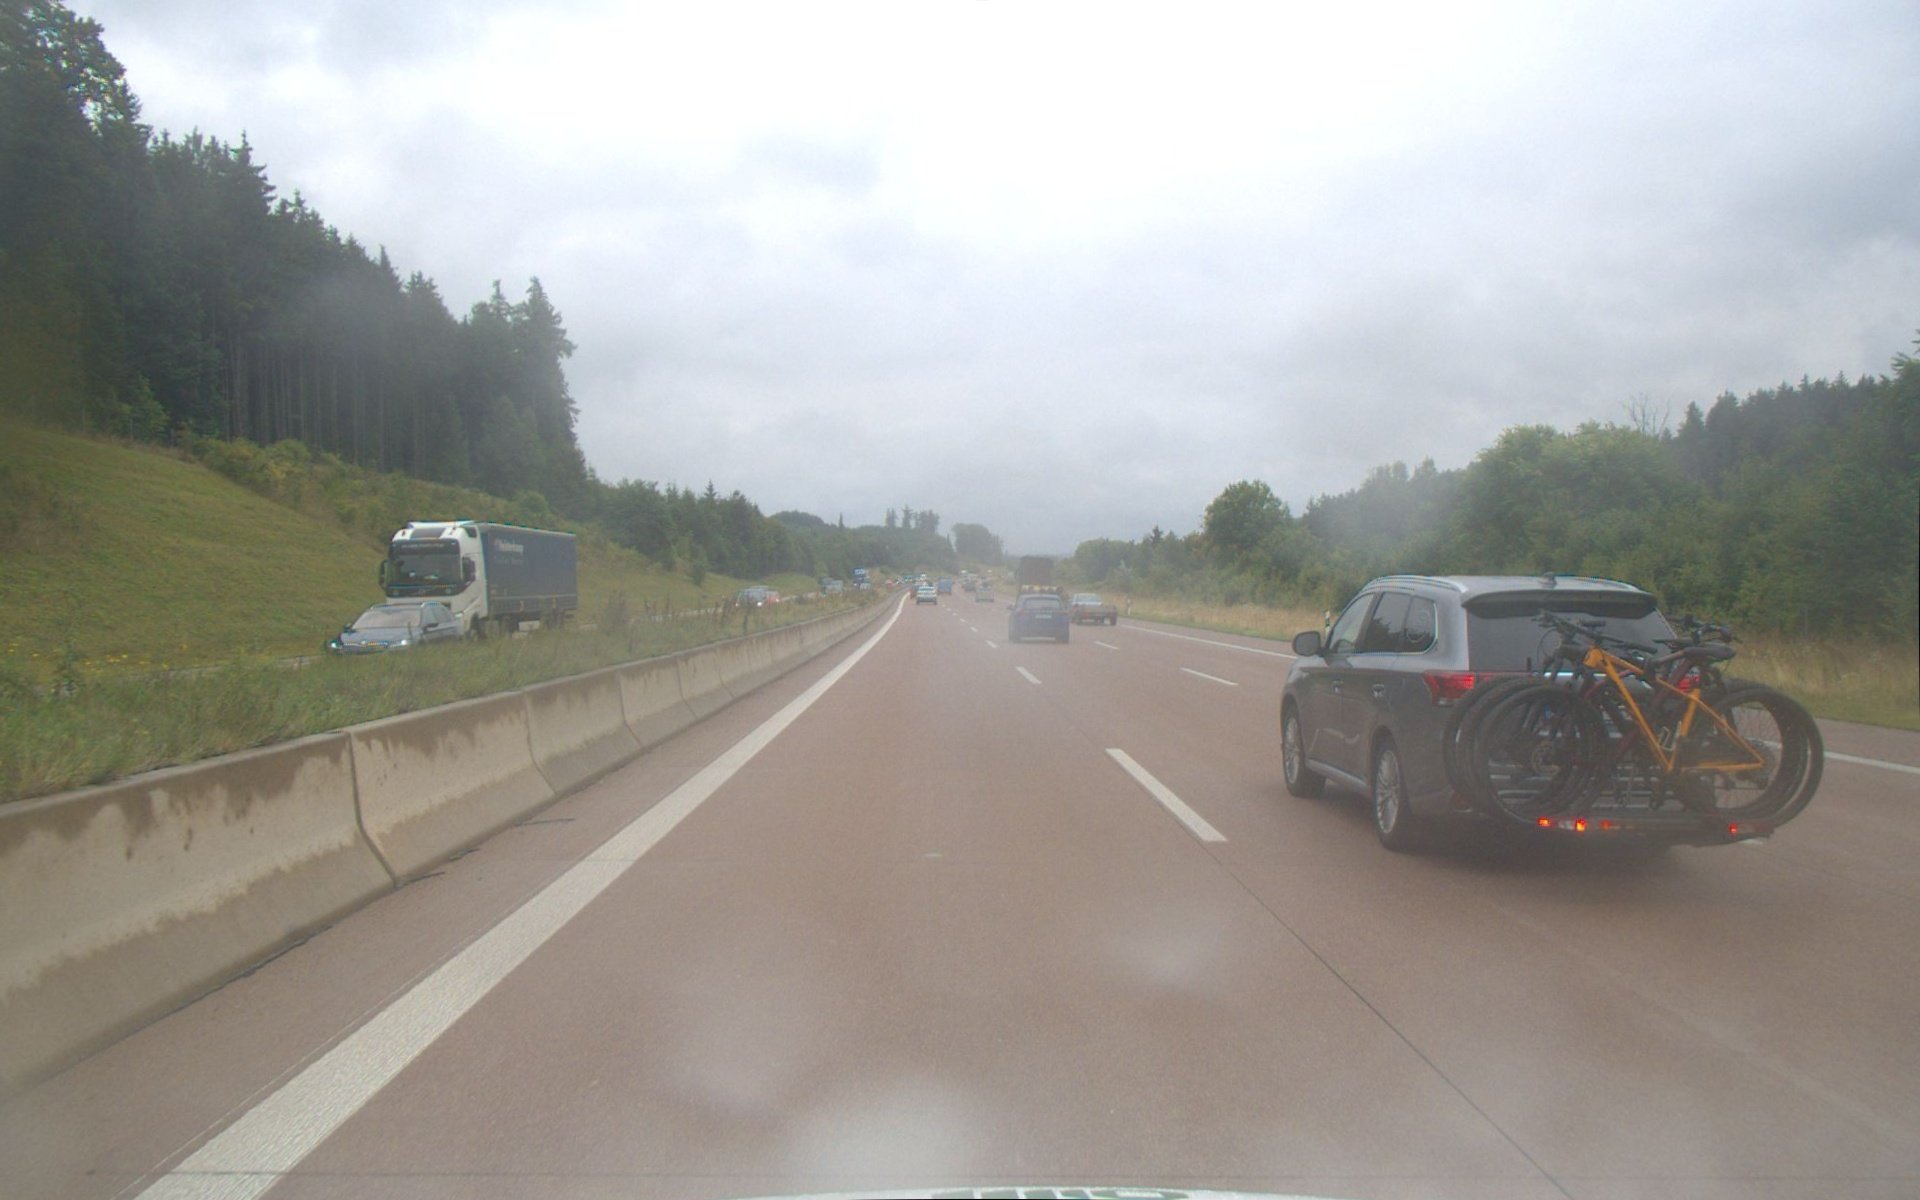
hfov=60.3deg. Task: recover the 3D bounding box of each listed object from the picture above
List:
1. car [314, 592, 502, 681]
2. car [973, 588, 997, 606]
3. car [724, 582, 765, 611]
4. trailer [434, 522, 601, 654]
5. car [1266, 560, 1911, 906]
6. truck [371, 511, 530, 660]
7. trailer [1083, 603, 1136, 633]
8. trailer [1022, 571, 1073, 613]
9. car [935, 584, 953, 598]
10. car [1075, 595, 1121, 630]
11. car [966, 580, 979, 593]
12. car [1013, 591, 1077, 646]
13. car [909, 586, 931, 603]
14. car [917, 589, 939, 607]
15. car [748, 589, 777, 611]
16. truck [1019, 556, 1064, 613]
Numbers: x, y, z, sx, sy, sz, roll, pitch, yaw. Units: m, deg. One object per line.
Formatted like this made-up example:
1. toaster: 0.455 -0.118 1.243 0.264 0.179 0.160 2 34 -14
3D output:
1. car: -11.799 0.740 35.903 2.007 1.722 6.382 1 0 -1
2. car: 2.464 -0.282 166.306 2.275 1.780 4.876 1 0 0
3. car: -13.554 -0.244 104.338 1.953 1.798 5.094 0 1 -1
4. trailer: -16.475 -0.367 62.924 2.859 4.415 13.576 1 0 -1
5. car: 3.543 0.652 10.799 1.953 1.620 5.819 1 0 0
6. truck: -16.322 -0.418 53.560 2.864 4.467 7.401 1 0 -1
7. trailer: 6.668 0.783 74.192 1.931 1.186 4.639 1 1 -1
8. trailer: 5.979 -0.465 114.581 2.822 2.722 11.396 1 0 0
9. car: -2.124 -1.181 219.403 2.275 1.780 4.876 1 0 0
10. car: 6.564 0.577 79.017 1.663 1.640 4.975 0 0 -1
11. car: 1.893 -2.107 256.946 1.953 2.049 3.999 1 0 -1
12. car: 2.600 0.565 51.511 1.735 1.591 4.146 1 0 0
13. car: -4.423 -0.586 184.117 2.275 1.780 4.876 1 0 0
14. car: -2.799 -0.202 145.513 1.836 1.469 4.877 1 1 0
15. car: -14.739 0.023 123.599 1.691 1.556 4.116 1 0 -1
16. truck: 5.955 -1.121 122.264 2.838 4.034 6.987 1 0 -1
